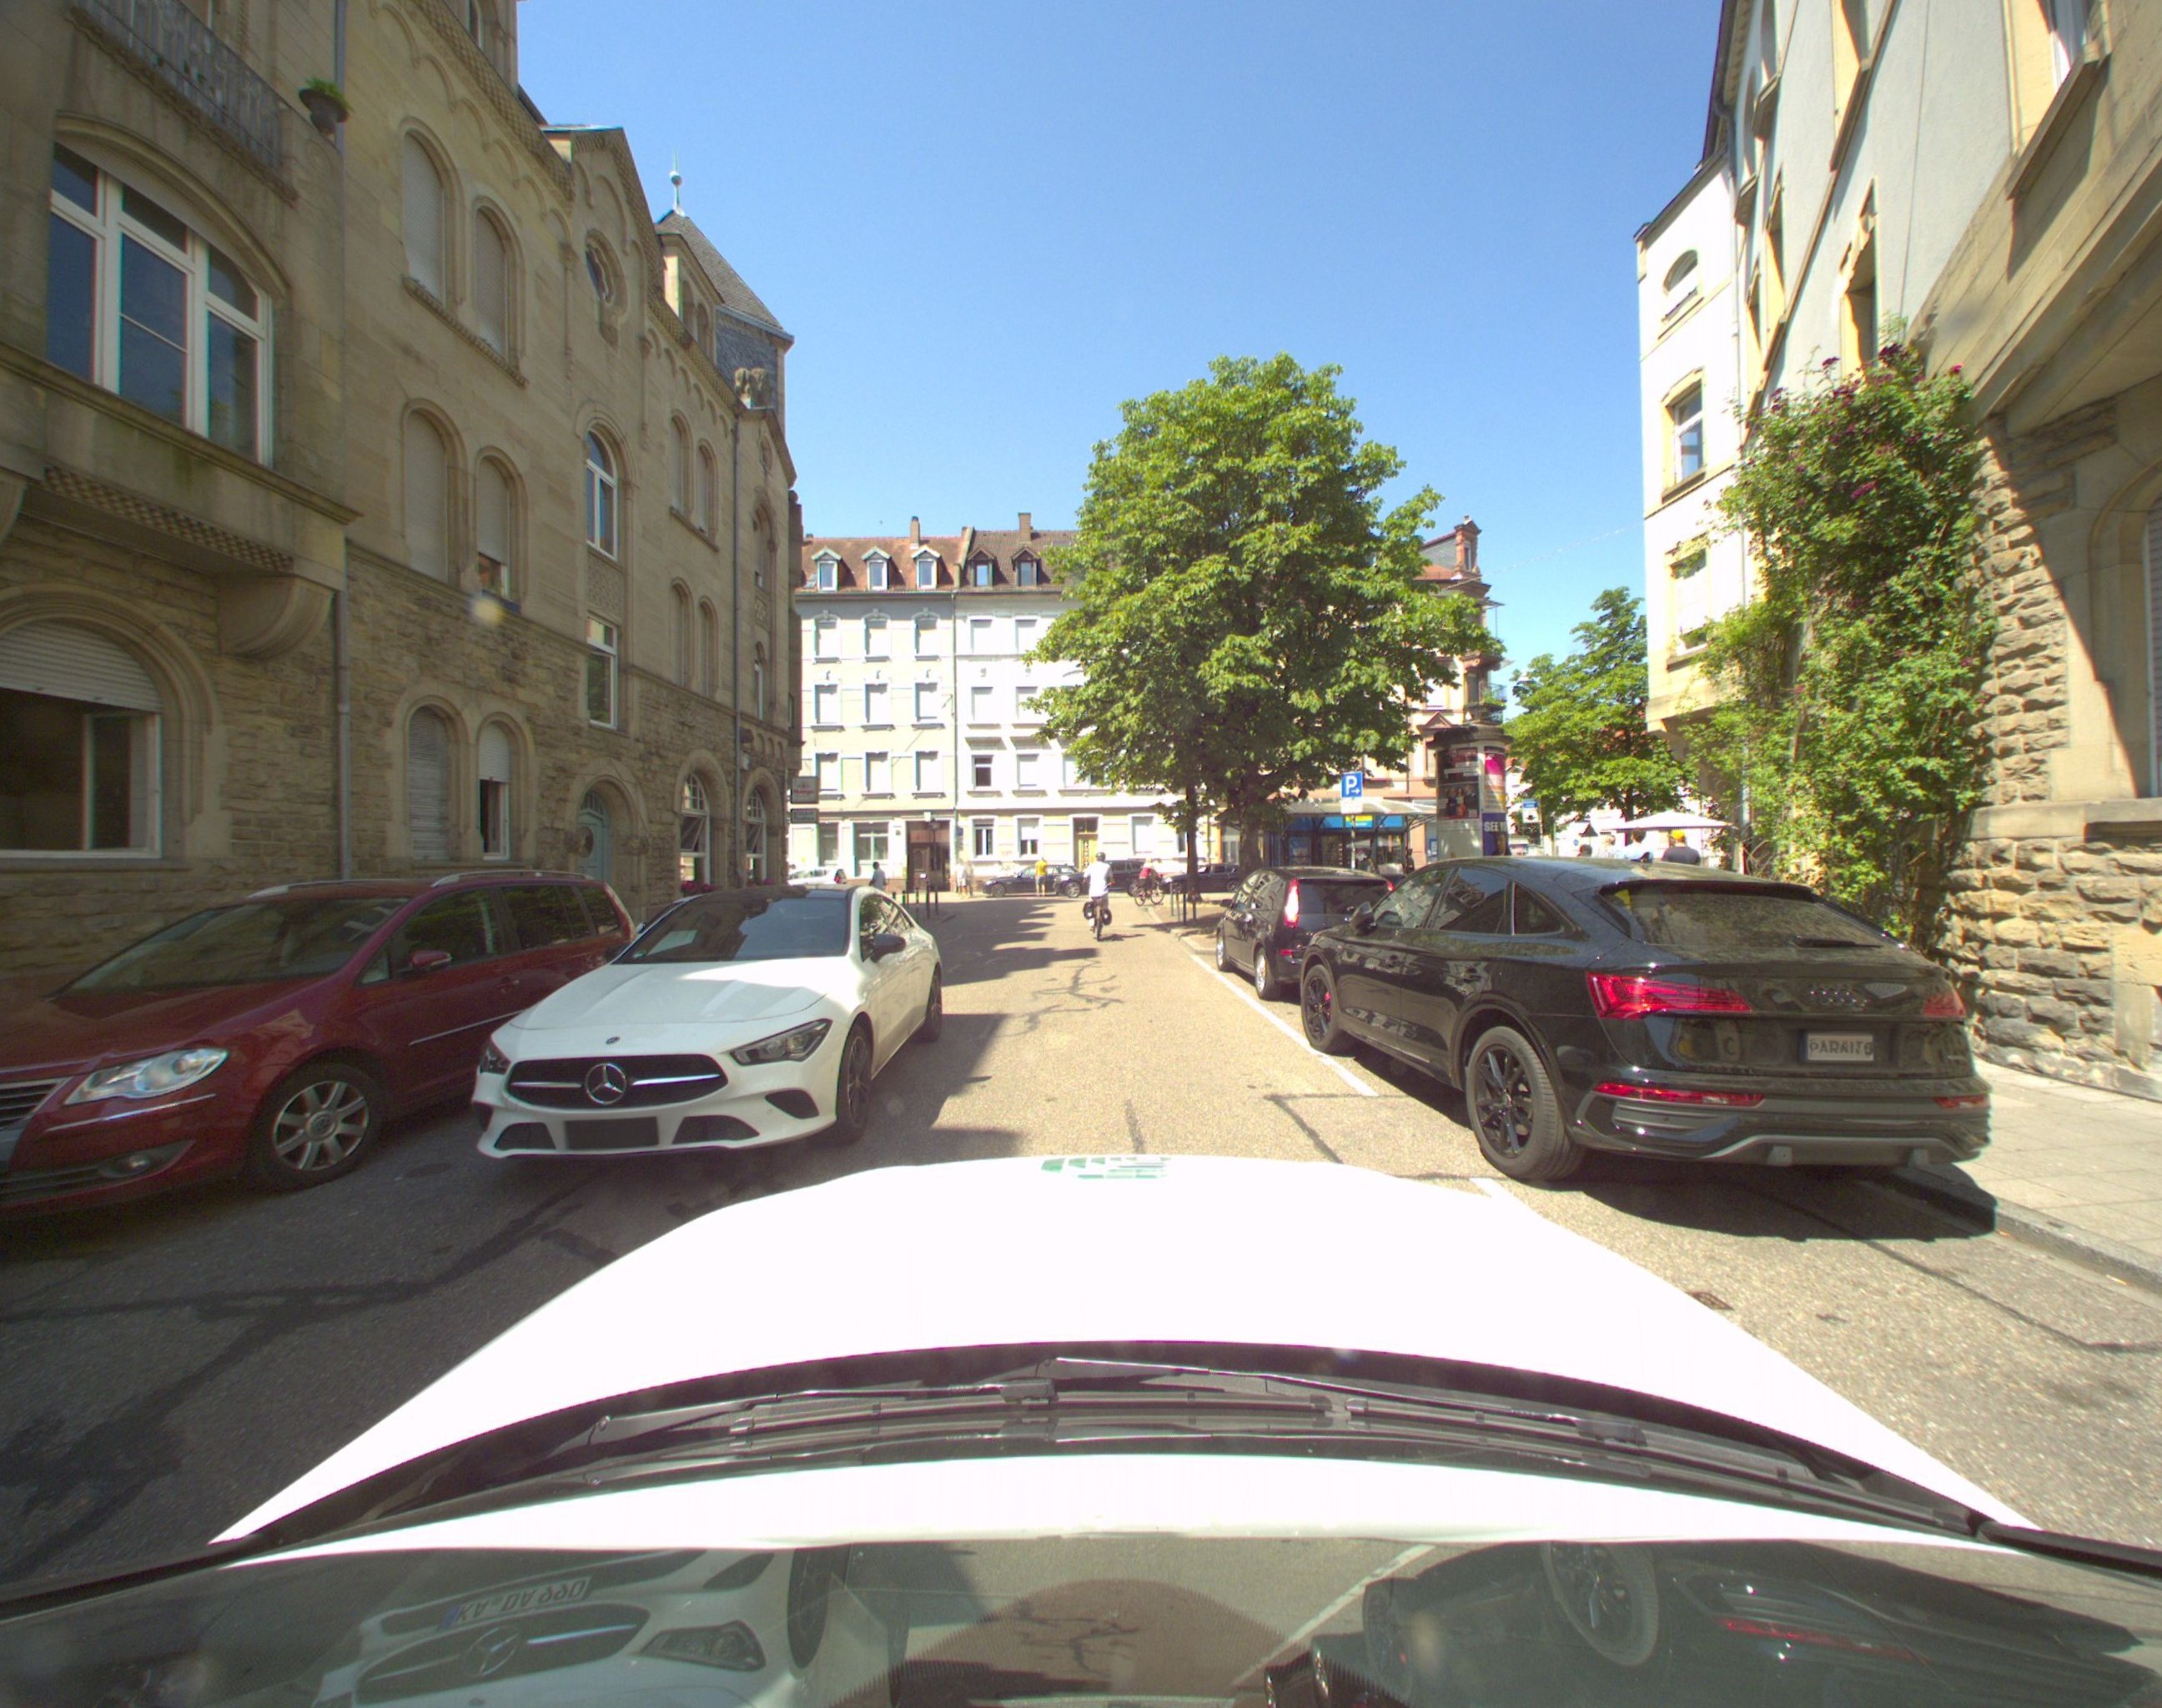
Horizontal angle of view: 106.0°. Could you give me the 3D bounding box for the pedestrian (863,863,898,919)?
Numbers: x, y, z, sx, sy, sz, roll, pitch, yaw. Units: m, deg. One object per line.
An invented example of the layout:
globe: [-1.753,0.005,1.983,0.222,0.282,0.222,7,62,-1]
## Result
pedestrian: [-6.163,1.133,25.105,0.854,1.672,0.774,-1,-1,0]

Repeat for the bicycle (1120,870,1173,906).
bicycle: [2.344,1.187,28.786,0.645,1.209,2.456,0,-1,38]

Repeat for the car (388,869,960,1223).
car: [-2.140,0.888,5.819,1.835,1.461,4.361,-3,-1,0]

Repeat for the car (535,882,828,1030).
car: [-4.819,1.124,10.664,1.697,1.352,4.511,-3,-1,-2]

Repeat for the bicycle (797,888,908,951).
bicycle: [-4.380,1.257,15.673,1.968,1.130,0.394,2,-2,-5]

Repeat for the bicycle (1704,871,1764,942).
bicycle: [10.592,0.816,13.256,0.542,1.039,1.849,-2,-1,33]

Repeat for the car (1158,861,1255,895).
car: [5.903,1.129,38.591,4.281,1.370,1.807,-2,1,-1]

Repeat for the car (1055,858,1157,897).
car: [1.055,1.003,34.781,4.210,1.519,1.806,-2,-1,-1]

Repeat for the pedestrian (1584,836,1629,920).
pedestrian: [11.613,0.523,17.996,0.753,1.794,0.576,-1,-2,-38]

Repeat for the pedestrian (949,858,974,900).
pedestrian: [-5.543,1.153,37.827,0.844,1.889,0.938,-2,-1,10]

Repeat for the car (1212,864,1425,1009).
car: [2.926,0.925,10.946,1.657,1.540,4.177,1,-1,0]

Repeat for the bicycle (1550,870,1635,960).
bicycle: [7.670,0.862,12.321,0.786,1.169,2.593,-2,-1,26]

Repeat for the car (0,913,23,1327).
car: [-4.680,0.954,0.777,1.772,1.460,4.275,-3,-1,-2]

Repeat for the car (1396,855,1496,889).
car: [17.532,0.859,39.212,3.975,1.506,1.777,-2,-1,-1]

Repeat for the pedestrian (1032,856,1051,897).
pedestrian: [-1.805,1.031,37.189,0.724,1.853,0.682,-1,-1,-10]

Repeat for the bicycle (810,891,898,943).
bicycle: [-4.749,1.313,17.122,1.701,1.045,0.413,1,-1,-5]

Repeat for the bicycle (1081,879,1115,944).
bicycle: [0.354,1.172,17.325,0.649,1.228,2.441,1,-1,1]

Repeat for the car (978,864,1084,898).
car: [-2.303,1.252,38.493,4.844,1.437,1.999,-2,-1,-1]

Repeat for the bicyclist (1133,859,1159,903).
bicyclist: [2.287,0.956,28.731,0.664,1.533,0.613,-2,-2,38]

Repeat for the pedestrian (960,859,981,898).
pedestrian: [-5.251,1.169,38.765,0.899,1.814,0.958,-1,-1,-5]

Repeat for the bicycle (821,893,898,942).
bicycle: [-4.763,1.361,17.536,1.522,1.008,0.366,1,-1,-5]

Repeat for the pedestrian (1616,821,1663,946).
pedestrian: [8.658,0.452,12.642,0.513,1.869,0.657,-2,-2,31]

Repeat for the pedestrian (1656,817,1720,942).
pedestrian: [9.456,0.393,12.716,0.594,1.880,0.888,-2,-2,25]

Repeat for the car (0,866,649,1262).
car: [-4.743,0.920,5.339,1.668,1.583,4.050,-3,-1,-2]

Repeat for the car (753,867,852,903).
car: [-13.101,1.438,38.529,4.036,1.562,1.806,-2,-1,-2]

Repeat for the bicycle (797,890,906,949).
bicycle: [-4.520,1.285,16.116,1.991,1.130,0.435,1,-1,-5]

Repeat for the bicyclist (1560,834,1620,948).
bicyclist: [7.636,0.548,12.236,0.671,1.648,0.666,-2,-1,28]

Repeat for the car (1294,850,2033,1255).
car: [2.931,0.828,5.439,1.731,1.597,4.344,1,-1,-2]

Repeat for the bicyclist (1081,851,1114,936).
bicyclist: [0.353,0.829,17.369,0.668,1.760,0.609,1,-1,1]
